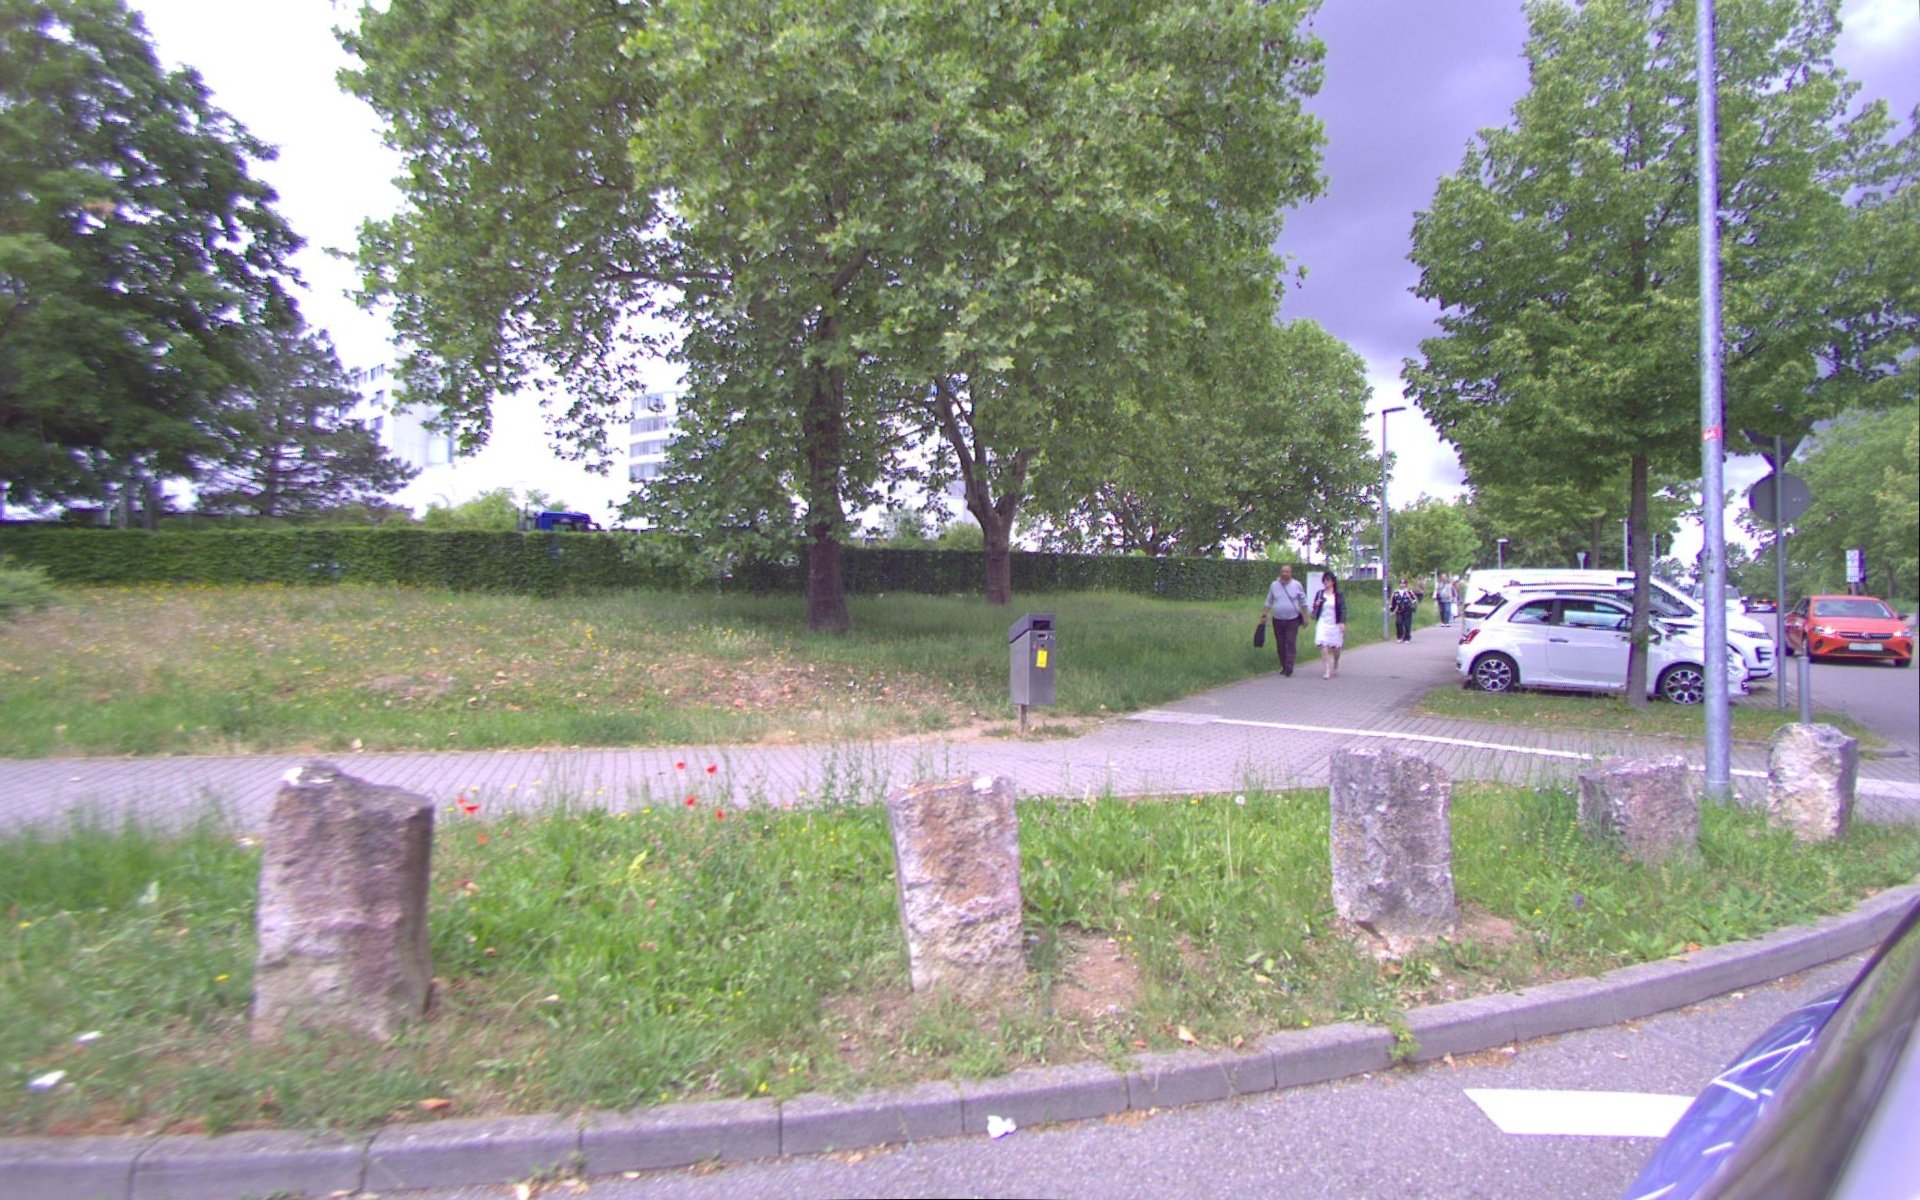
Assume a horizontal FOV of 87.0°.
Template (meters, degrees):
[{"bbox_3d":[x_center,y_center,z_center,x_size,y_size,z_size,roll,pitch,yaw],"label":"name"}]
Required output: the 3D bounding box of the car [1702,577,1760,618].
[{"bbox_3d":[30.563,-0.104,40.173,1.750,1.534,3.947,0,0,37],"label":"car"}]

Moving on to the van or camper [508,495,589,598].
[{"bbox_3d":[-12.213,-1.483,30.215,2.071,2.833,4.489,0,0,-21],"label":"van or camper"}]

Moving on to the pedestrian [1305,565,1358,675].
[{"bbox_3d":[5.871,0.306,15.985,0.685,1.678,0.593,-1,0,31],"label":"pedestrian"}]

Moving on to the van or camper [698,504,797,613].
[{"bbox_3d":[-6.106,-1.087,28.628,2.071,2.833,4.489,0,0,-21],"label":"van or camper"}]

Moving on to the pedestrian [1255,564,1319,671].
[{"bbox_3d":[5.285,0.266,16.341,0.865,1.678,0.586,-1,0,32],"label":"pedestrian"}]

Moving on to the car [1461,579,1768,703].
[{"bbox_3d":[9.320,0.503,14.662,3.498,1.479,1.719,3,2,33],"label":"car"}]

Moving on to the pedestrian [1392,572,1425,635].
[{"bbox_3d":[11.071,0.083,24.991,0.673,1.538,0.699,-1,0,30],"label":"pedestrian"}]

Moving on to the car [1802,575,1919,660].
[{"bbox_3d":[19.532,0.307,21.944,1.750,1.534,3.949,0,3,37],"label":"car"}]

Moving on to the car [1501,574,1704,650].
[{"bbox_3d":[14.824,0.207,23.543,3.808,1.538,1.890,2,2,32],"label":"car"}]

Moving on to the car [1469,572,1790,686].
[{"bbox_3d":[10.633,0.377,16.411,4.132,1.622,1.719,1,1,32],"label":"car"}]

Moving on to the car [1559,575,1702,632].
[{"bbox_3d":[21.251,0.066,32.185,3.658,1.667,1.829,2,1,35],"label":"car"}]

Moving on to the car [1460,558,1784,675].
[{"bbox_3d":[12.044,0.194,18.725,4.759,1.854,1.820,3,2,35],"label":"car"}]
